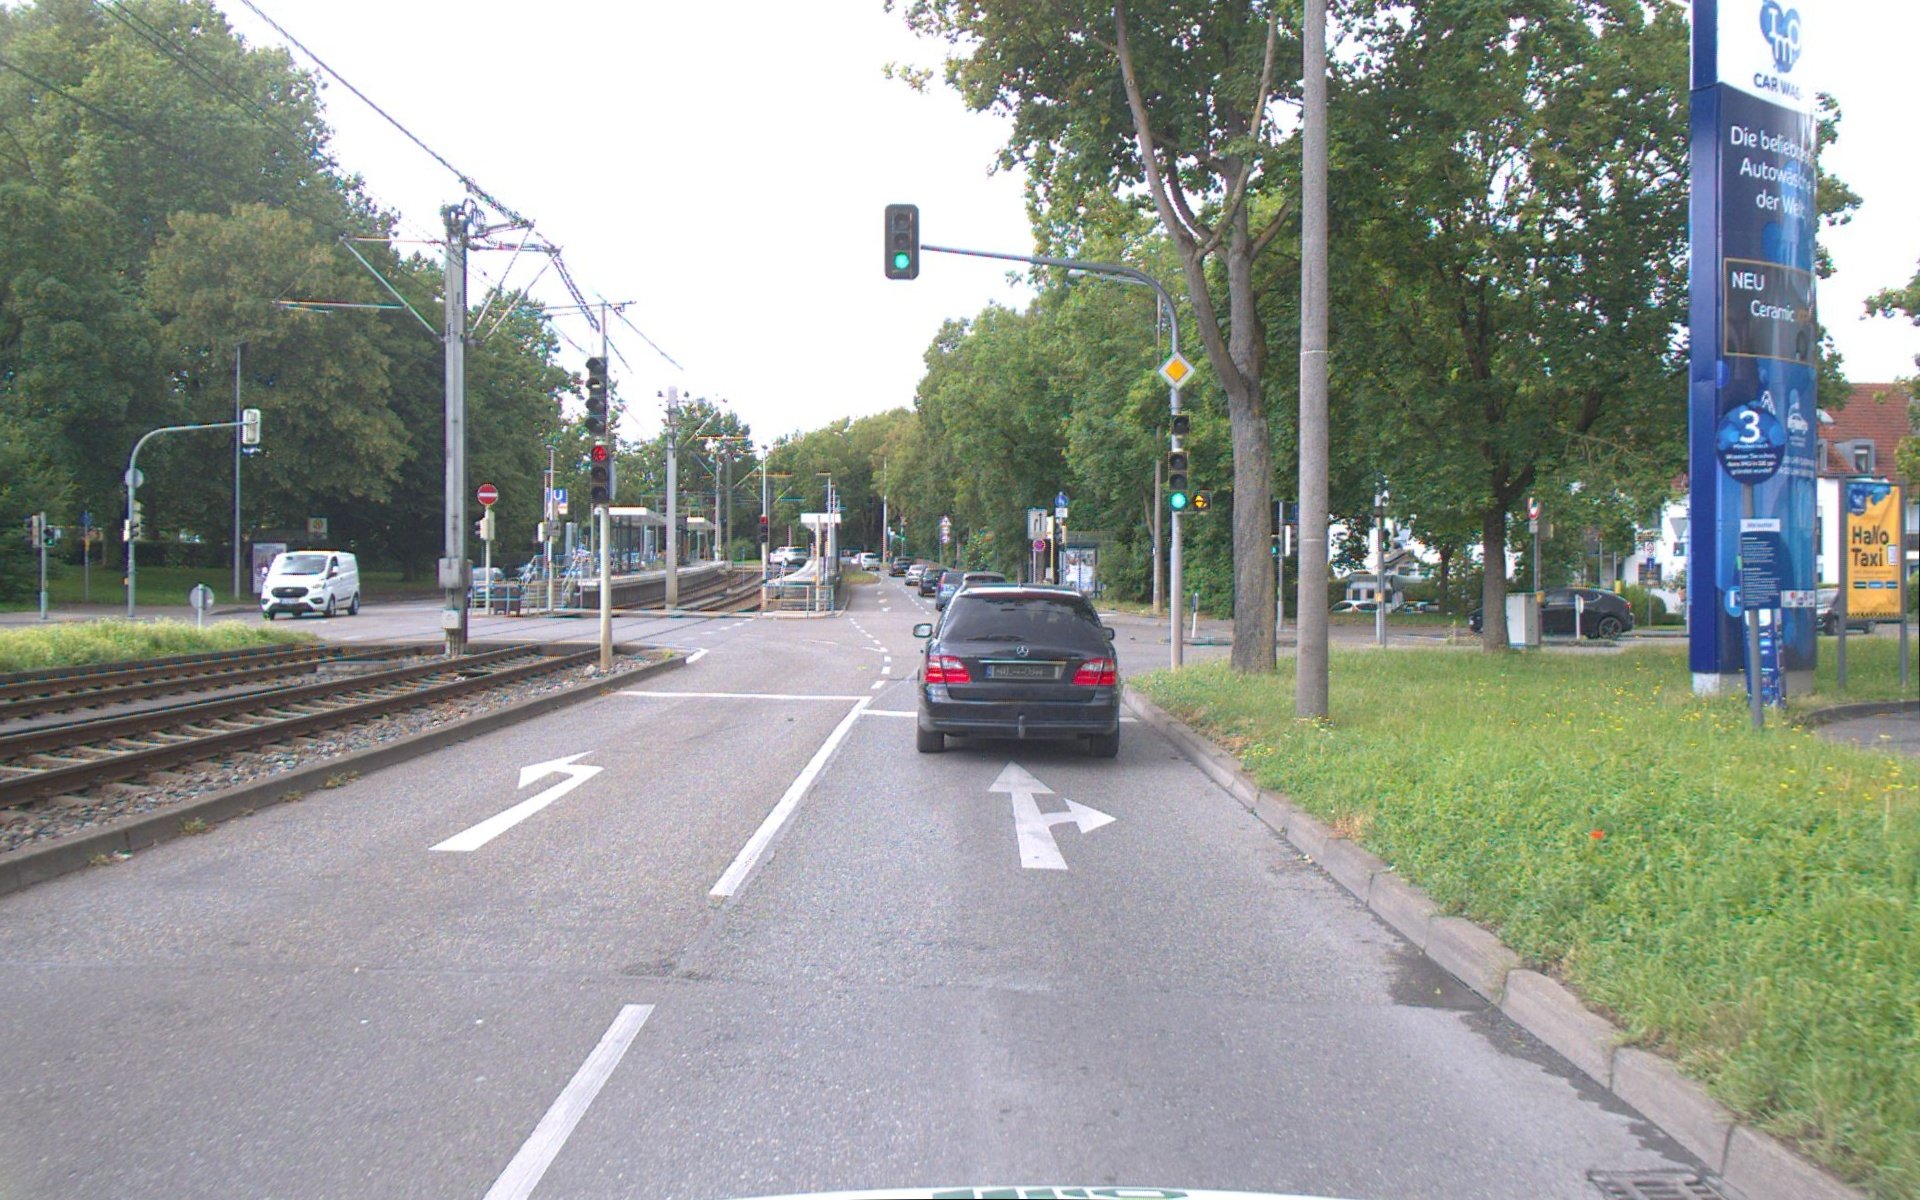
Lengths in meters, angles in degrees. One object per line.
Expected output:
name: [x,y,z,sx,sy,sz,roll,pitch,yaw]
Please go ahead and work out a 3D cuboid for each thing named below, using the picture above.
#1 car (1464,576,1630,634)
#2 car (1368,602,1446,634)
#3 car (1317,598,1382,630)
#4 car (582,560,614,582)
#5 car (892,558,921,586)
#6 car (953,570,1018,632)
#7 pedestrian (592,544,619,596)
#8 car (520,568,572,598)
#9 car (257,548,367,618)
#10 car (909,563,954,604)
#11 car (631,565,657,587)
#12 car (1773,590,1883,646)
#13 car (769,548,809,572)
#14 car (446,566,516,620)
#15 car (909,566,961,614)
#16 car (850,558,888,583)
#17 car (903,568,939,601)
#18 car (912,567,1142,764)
car: [16.318,0.135,46.093,4.065,1.552,1.705,0,0,4]
car: [19.668,0.779,72.920,1.594,1.268,3.844,2,0,-14]
car: [18.688,0.637,79.534,1.453,1.410,3.826,2,0,-14]
car: [-25.933,-2.044,118.578,1.653,1.471,3.996,-2,0,-4]
car: [-4.069,-2.077,125.016,1.954,2.001,3.996,2,0,-5]
car: [0.777,0.034,48.465,1.745,1.677,4.001,2,0,2]
pedestrian: [-15.146,-1.284,70.672,0.950,2.224,0.975,1,0,-3]
car: [-21.501,-0.888,86.049,1.954,1.508,4.502,0,0,-5]
car: [-19.893,-0.516,51.014,1.955,2.049,4.879,-1,0,-7]
car: [-1.439,-0.808,83.204,1.954,1.951,3.996,2,0,-5]
car: [-27.087,-2.054,141.954,1.676,1.782,4.396,-1,0,-4]
car: [30.829,0.656,58.731,3.958,1.796,1.974,3,0,-38]
car: [-15.846,-3.730,153.325,1.977,2.049,3.951,3,0,-35]
car: [-17.844,-0.262,61.760,1.664,1.893,3.996,2,0,-4]
car: [-0.937,-0.361,63.129,1.745,1.677,4.001,2,0,2]
car: [-7.802,-2.537,141.833,1.966,2.049,3.973,2,0,-22]
car: [-2.494,-0.976,104.755,1.954,1.926,3.996,2,0,-5]
car: [0.486,0.522,15.299,1.746,1.552,3.998,1,0,-3]
